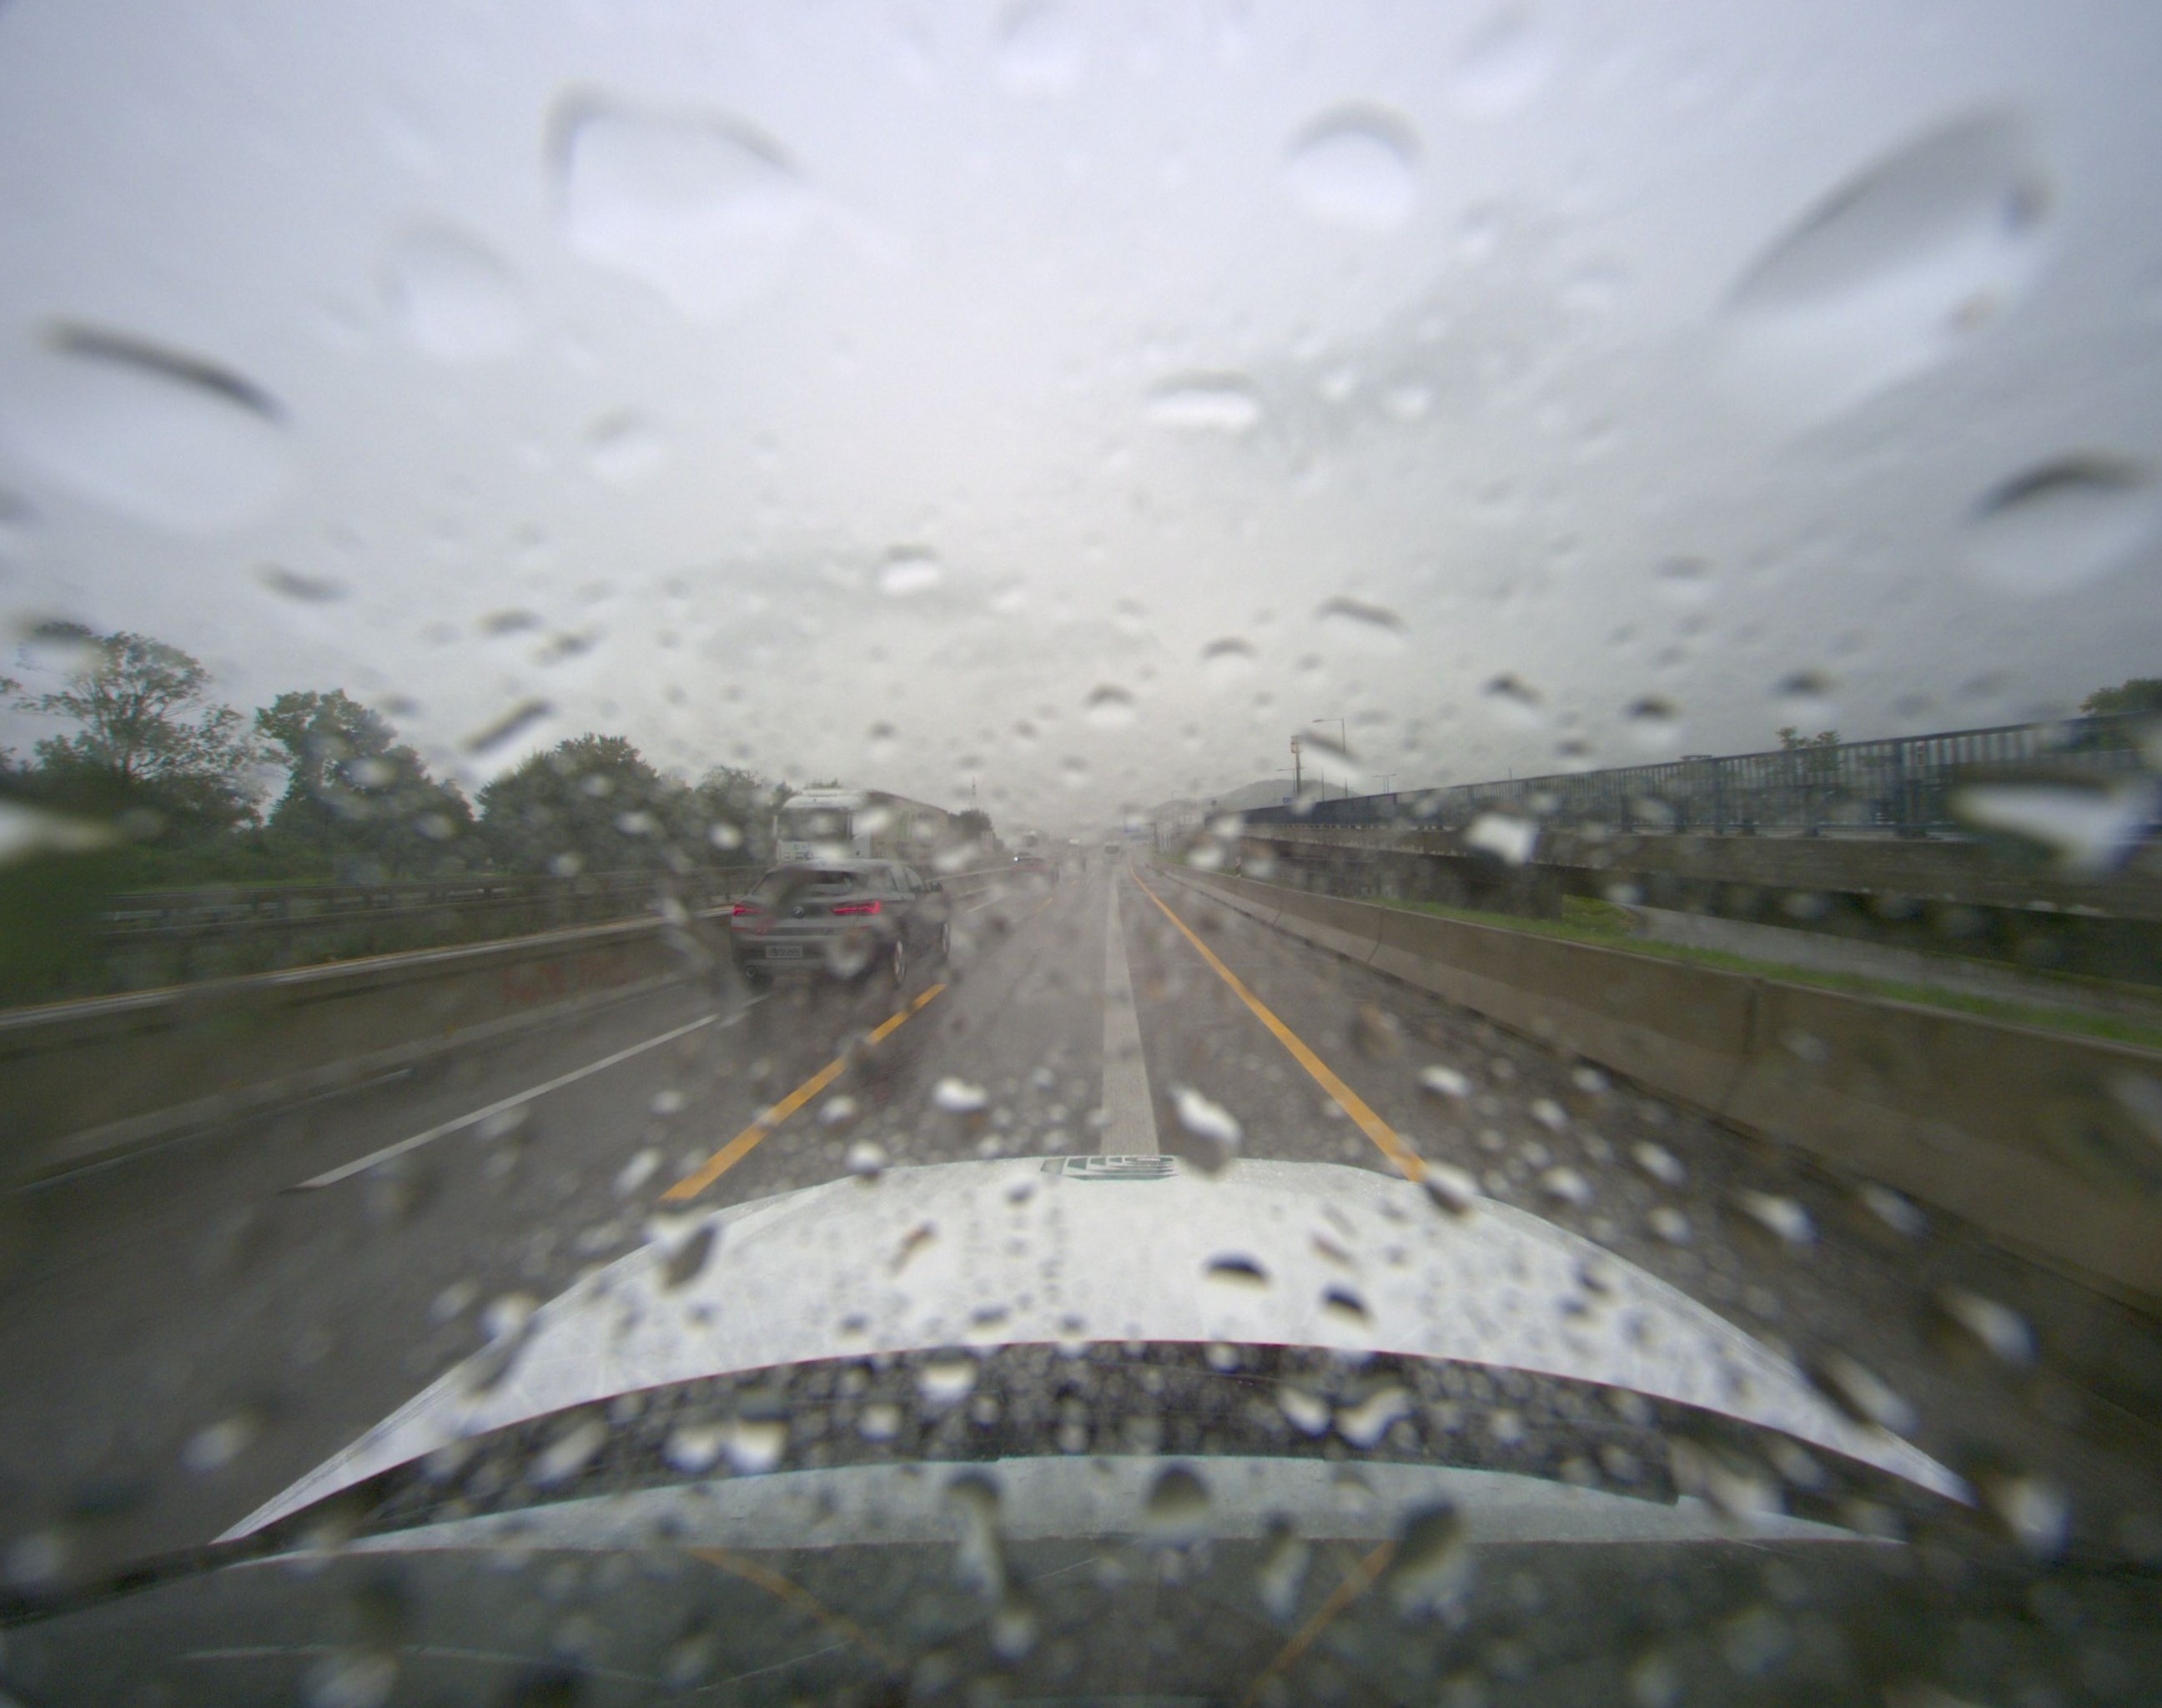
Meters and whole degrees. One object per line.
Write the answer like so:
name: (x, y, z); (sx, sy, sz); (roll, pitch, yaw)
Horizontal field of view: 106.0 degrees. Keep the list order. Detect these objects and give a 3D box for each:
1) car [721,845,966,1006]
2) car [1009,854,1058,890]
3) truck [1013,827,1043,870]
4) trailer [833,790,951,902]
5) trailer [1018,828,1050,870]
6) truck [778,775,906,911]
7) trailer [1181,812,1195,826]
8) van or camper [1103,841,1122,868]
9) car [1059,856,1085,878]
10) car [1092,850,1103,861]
car: (-2.757, 0.768, 10.701); (1.695, 1.598, 4.845); (-1, -1, 1)
car: (-2.031, 0.763, 36.235); (1.838, 1.491, 4.262); (0, -1, 1)
truck: (-5.723, -0.538, 89.029); (2.549, 4.603, 6.457); (-1, -1, 3)
trailer: (-8.380, -0.243, 37.858); (2.475, 4.443, 11.199); (0, -1, 2)
trailer: (-5.392, -0.442, 95.744); (2.537, 4.589, 12.017); (0, -1, 3)
truck: (-8.634, -0.320, 30.306); (2.493, 4.463, 6.883); (0, -1, 2)
trailer: (21.496, -6.930, 164.258); (1.984, 2.106, 13.784); (0, -1, 5)
van or camper: (3.335, 0.076, 87.225); (1.989, 2.777, 4.050); (0, -1, 1)
car: (-0.643, 0.993, 62.588); (1.838, 1.491, 4.262); (-3, 0, 1)
car: (2.357, 0.170, 117.216); (1.561, 1.480, 2.822); (-3, -1, 1)
